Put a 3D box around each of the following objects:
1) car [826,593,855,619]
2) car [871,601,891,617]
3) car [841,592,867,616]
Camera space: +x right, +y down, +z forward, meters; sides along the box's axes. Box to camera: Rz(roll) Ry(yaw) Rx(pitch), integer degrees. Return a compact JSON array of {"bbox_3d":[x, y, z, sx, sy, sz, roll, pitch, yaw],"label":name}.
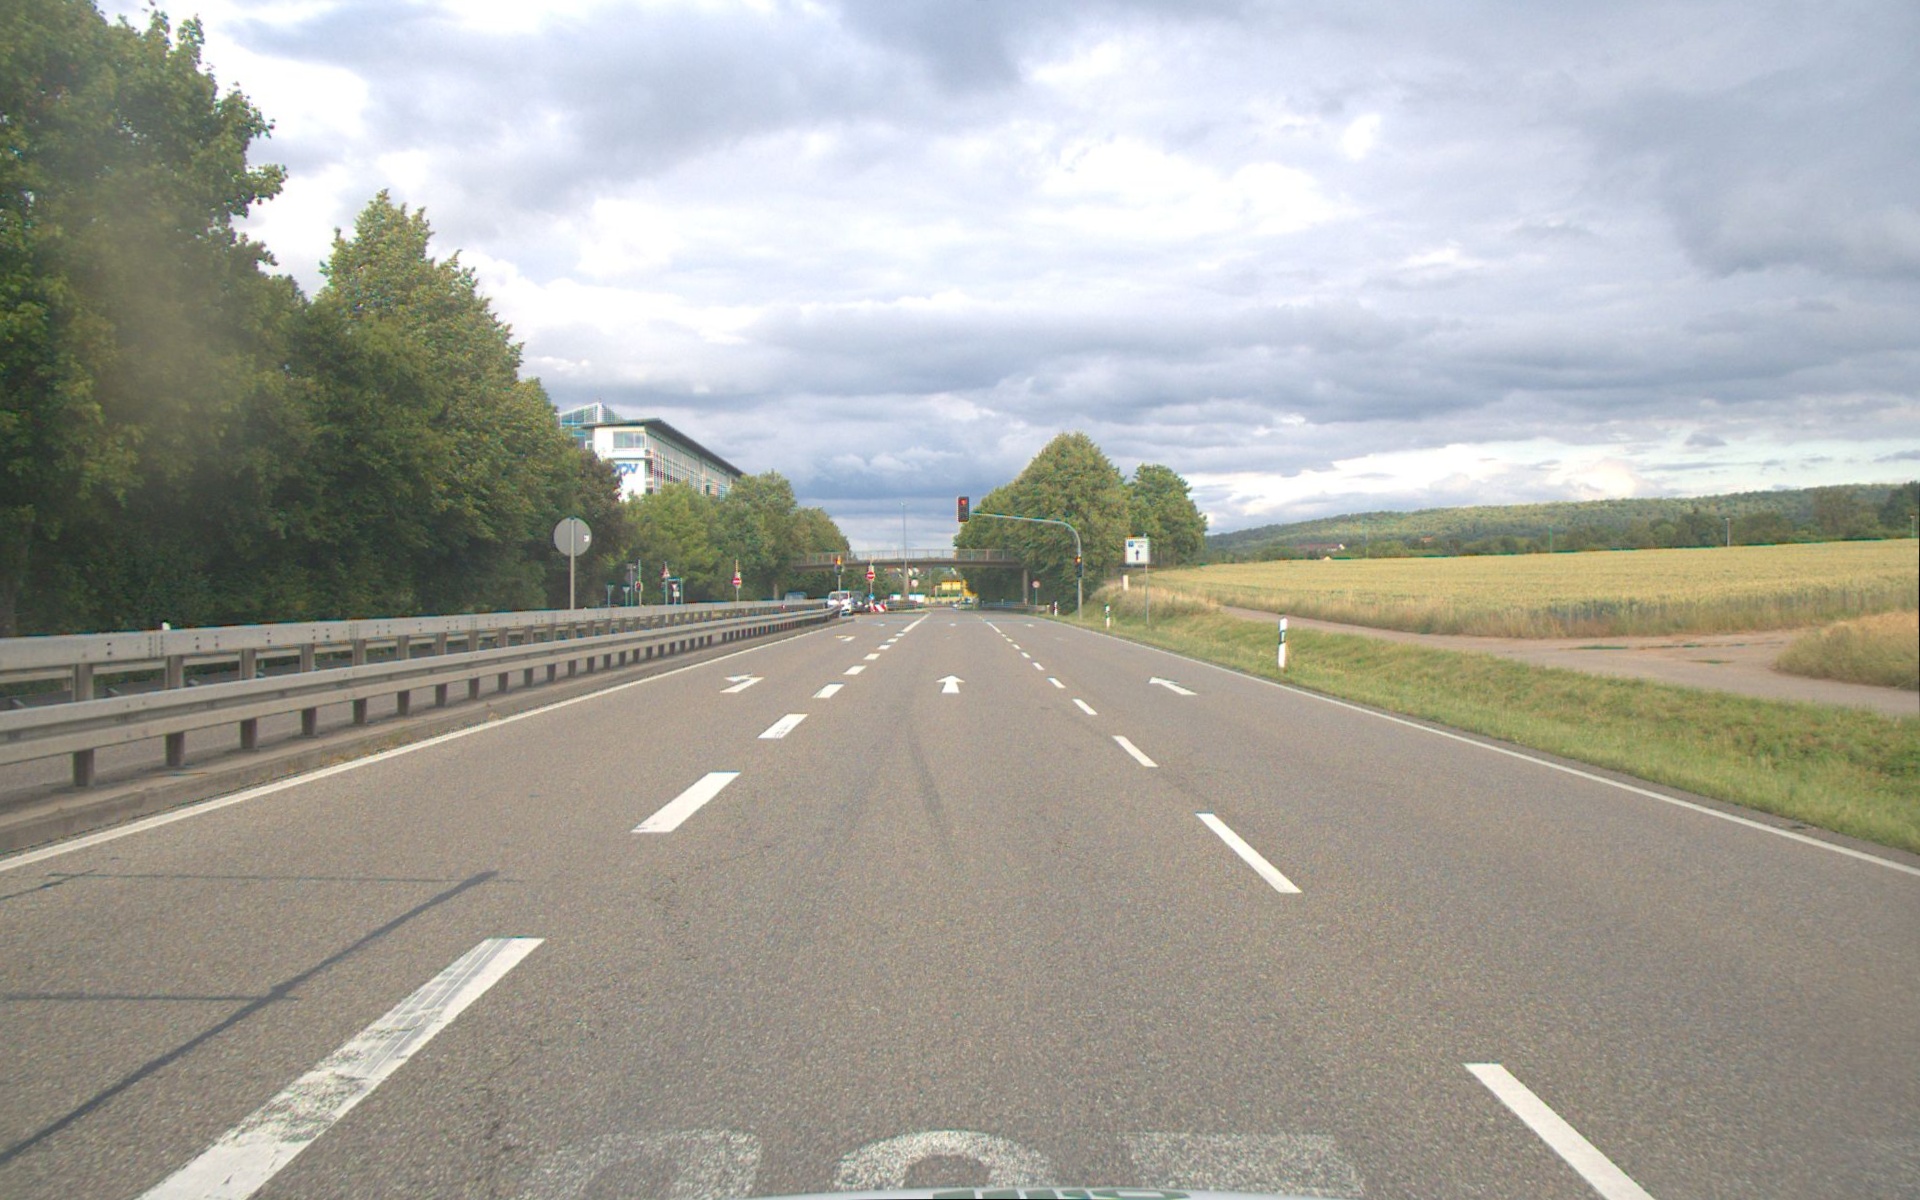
[{"bbox_3d":[-9.230,0.454,128.069,1.908,1.906,4.736,-1,1,0],"label":"car"},{"bbox_3d":[-6.021,0.684,126.094,1.330,1.111,2.922,-1,1,1],"label":"car"},{"bbox_3d":[-9.015,0.321,140.804,1.953,1.906,4.736,-1,1,0],"label":"car"}]
